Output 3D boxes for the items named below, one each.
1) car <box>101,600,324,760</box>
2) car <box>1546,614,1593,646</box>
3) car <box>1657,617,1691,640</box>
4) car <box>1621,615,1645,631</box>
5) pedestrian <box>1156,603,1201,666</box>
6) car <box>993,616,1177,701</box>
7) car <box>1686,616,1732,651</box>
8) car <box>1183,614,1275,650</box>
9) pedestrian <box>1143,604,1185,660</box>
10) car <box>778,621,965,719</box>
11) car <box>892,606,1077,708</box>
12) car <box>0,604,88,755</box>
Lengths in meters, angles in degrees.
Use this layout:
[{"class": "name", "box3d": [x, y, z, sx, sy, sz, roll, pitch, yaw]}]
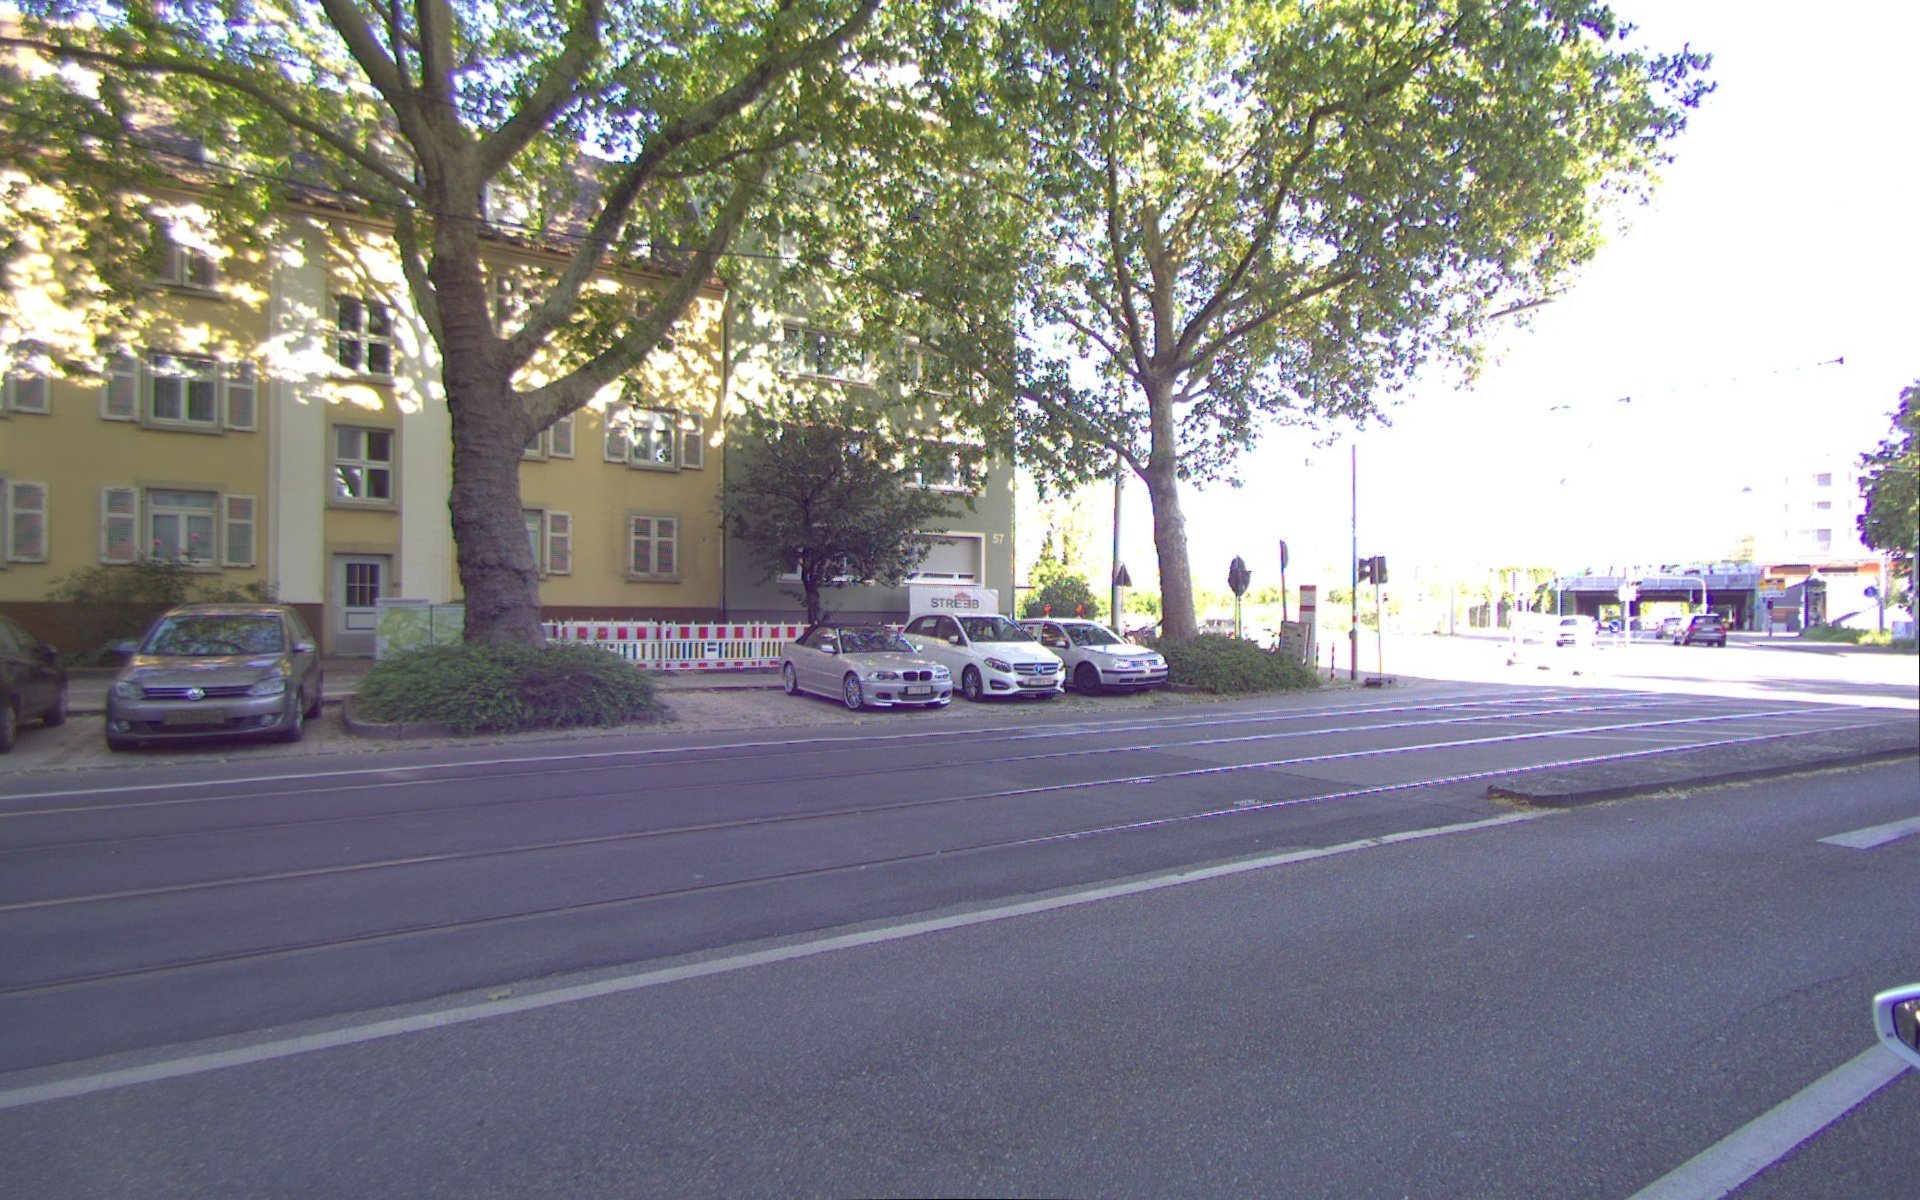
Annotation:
[{"class": "car", "box3d": [-8.998, 0.833, 12.414, 1.652, 1.602, 3.953, 1, 0, -29]}, {"class": "car", "box3d": [33.511, 1.628, 55.202, 1.860, 1.606, 3.823, 2, 0, 37]}, {"class": "car", "box3d": [50.320, 2.012, 70.878, 1.773, 1.539, 4.195, 2, 0, 33]}, {"class": "car", "box3d": [70.168, 2.369, 104.666, 1.860, 1.606, 3.823, 2, 0, 37]}, {"class": "pedestrian", "box3d": [6.021, 0.953, 27.641, 0.948, 1.683, 0.765, 2, 0, -40]}, {"class": "car", "box3d": [2.442, 1.110, 20.527, 1.651, 1.473, 3.949, 1, 0, -31]}, {"class": "car", "box3d": [42.746, 1.858, 57.396, 1.883, 1.906, 4.831, 0, -1, 34]}, {"class": "car", "box3d": [13.953, 1.620, 52.138, 4.281, 1.788, 1.986, 0, -1, 28]}, {"class": "pedestrian", "box3d": [6.240, 0.986, 30.744, 0.919, 1.669, 0.841, 2, 0, -30]}, {"class": "car", "box3d": [-1.648, 1.109, 17.307, 1.651, 1.370, 3.949, 1, 0, -31]}, {"class": "car", "box3d": [0.352, 0.983, 19.152, 1.651, 1.669, 3.949, 1, 0, -31]}, {"class": "car", "box3d": [-11.464, 0.833, 11.383, 1.652, 1.518, 3.778, 1, 0, -29]}]
